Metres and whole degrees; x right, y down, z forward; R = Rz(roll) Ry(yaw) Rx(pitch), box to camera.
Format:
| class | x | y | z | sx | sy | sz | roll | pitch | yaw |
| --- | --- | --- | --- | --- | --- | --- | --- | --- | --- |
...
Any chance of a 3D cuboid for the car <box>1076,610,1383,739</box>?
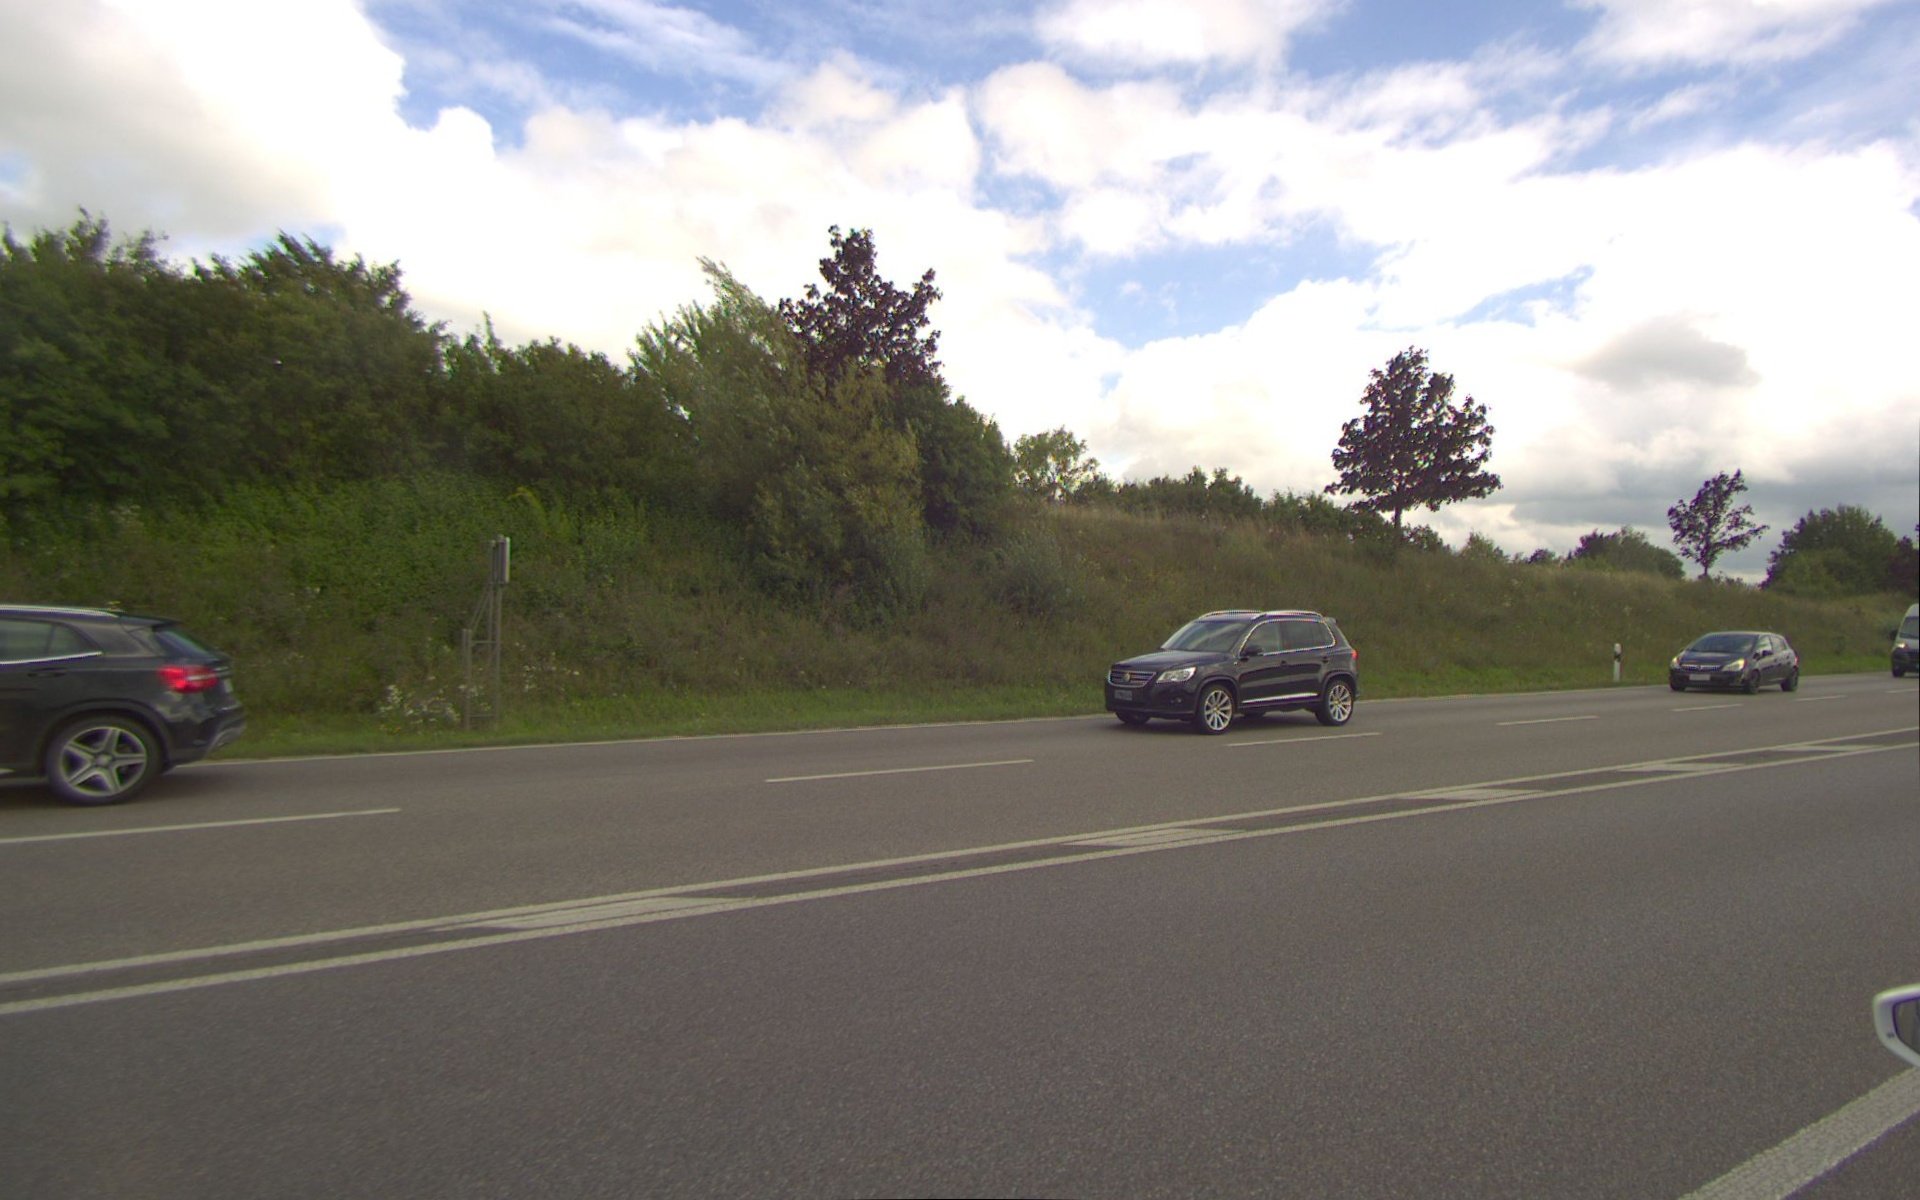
| class | x | y | z | sx | sy | sz | roll | pitch | yaw |
| --- | --- | --- | --- | --- | --- | --- | --- | --- | --- |
| car | 4.026 | 1.006 | 14.794 | 4.464 | 1.656 | 1.785 | 1 | -2 | -31 |

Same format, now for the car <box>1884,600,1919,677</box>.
| class | x | y | z | sx | sy | sz | roll | pitch | yaw |
| --- | --- | --- | --- | --- | --- | --- | --- | --- | --- |
| car | 33.142 | 1.268 | 33.608 | 5.575 | 2.472 | 2.021 | 1 | -1 | -33 |

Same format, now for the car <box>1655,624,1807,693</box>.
| class | x | y | z | sx | sy | sz | roll | pitch | yaw |
| --- | --- | --- | --- | --- | --- | --- | --- | --- | --- |
| car | 19.075 | 1.384 | 24.805 | 4.149 | 1.550 | 1.722 | 1 | -1 | -33 |

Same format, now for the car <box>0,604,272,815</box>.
| class | x | y | z | sx | sy | sz | roll | pitch | yaw |
| --- | --- | --- | --- | --- | --- | --- | --- | --- | --- |
| car | -8.138 | 0.801 | 7.639 | 4.651 | 1.531 | 1.785 | 1 | -2 | -31 |
